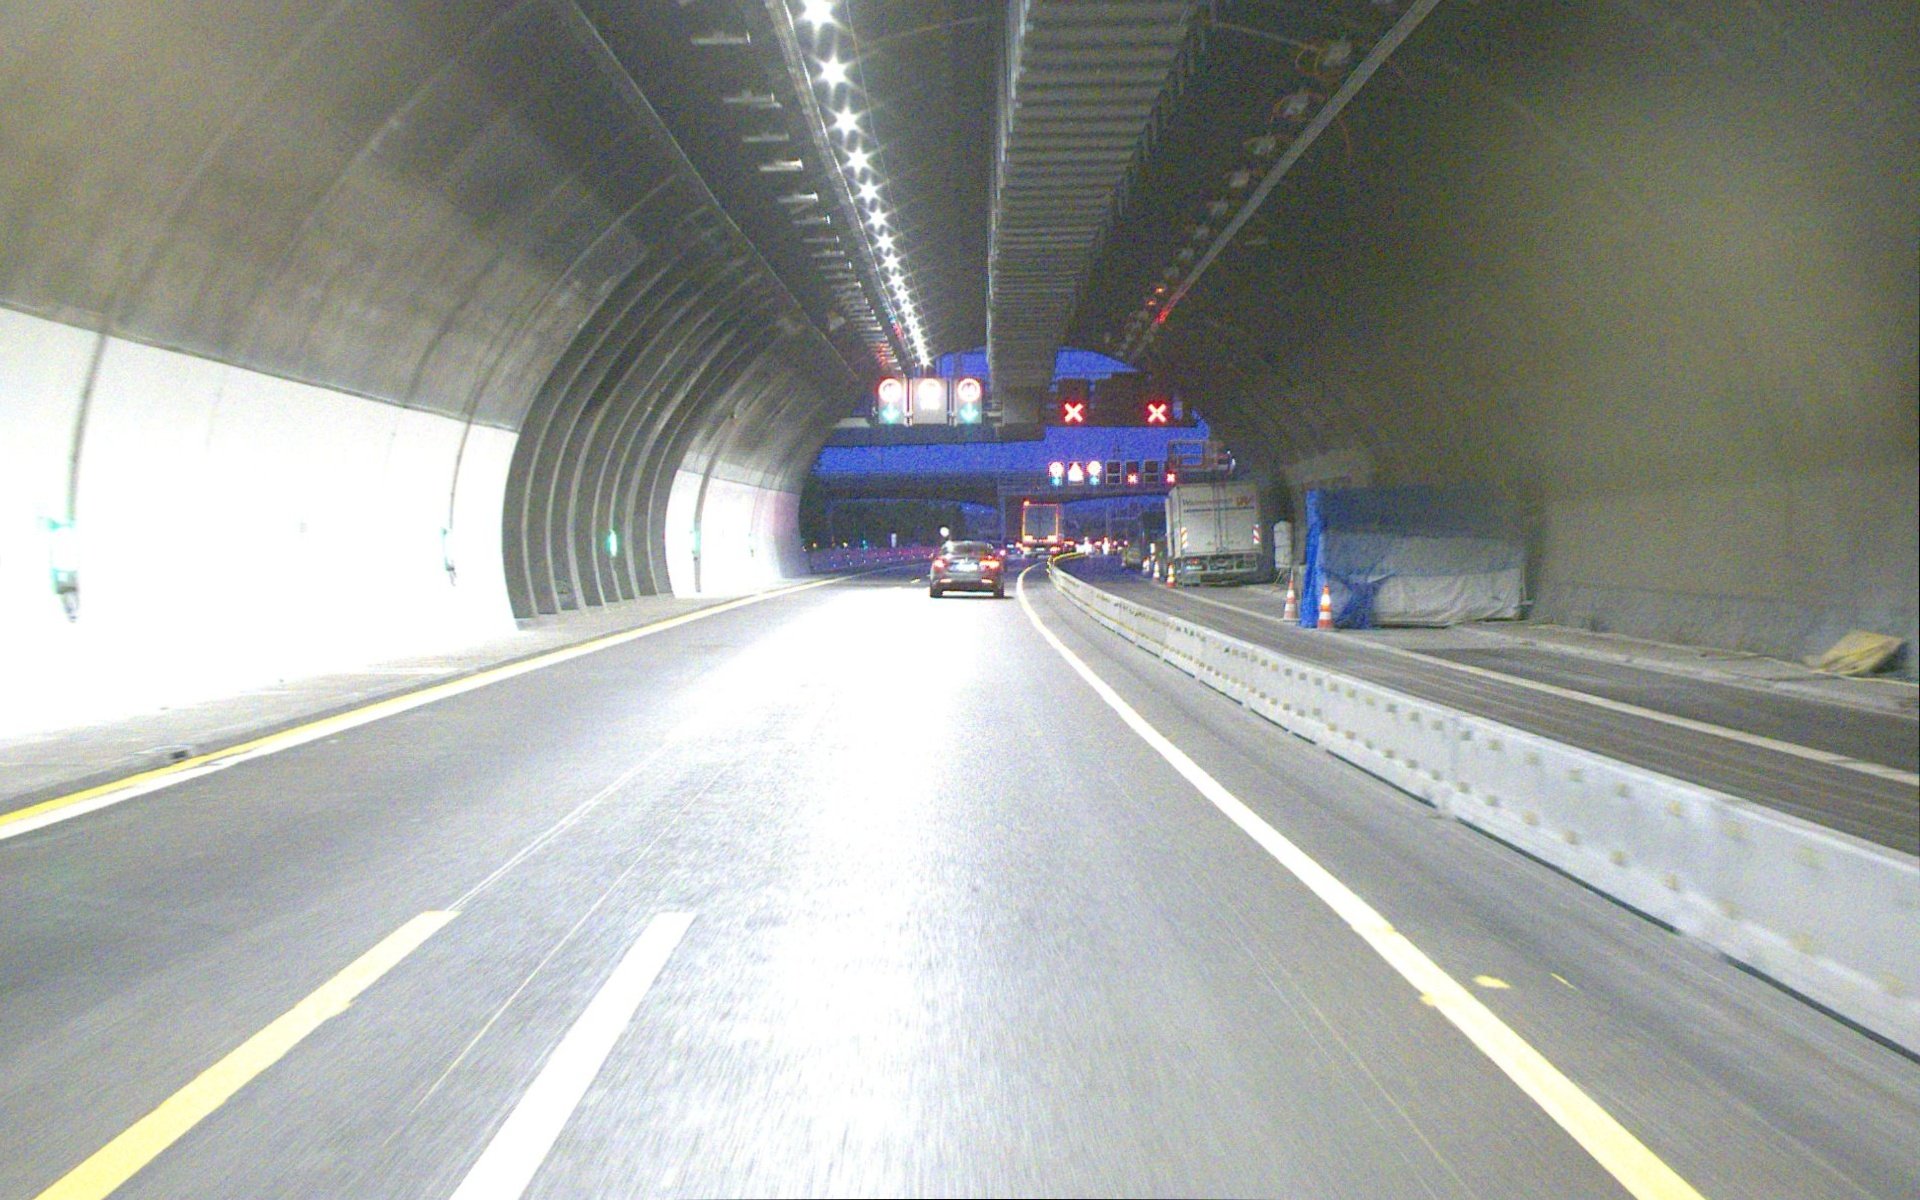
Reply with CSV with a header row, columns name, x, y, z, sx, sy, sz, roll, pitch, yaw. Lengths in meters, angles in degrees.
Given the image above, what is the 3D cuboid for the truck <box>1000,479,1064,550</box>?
name,x,y,z,sx,sy,sz,roll,pitch,yaw
truck,5.246,-6.143,248.116,4.546,4.970,9.599,0,1,2

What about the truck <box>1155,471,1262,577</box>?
name,x,y,z,sx,sy,sz,roll,pitch,yaw
truck,7.928,-2.409,110.430,2.892,3.261,8.401,0,1,1

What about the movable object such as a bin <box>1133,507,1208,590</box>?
name,x,y,z,sx,sy,sz,roll,pitch,yaw
movable object such as a bin,7.273,-1.792,119.558,2.238,2.784,7.233,0,1,1

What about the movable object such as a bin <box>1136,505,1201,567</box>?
name,x,y,z,sx,sy,sz,roll,pitch,yaw
movable object such as a bin,9.441,-2.893,156.312,2.737,2.744,7.049,0,1,2

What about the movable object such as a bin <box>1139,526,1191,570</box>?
name,x,y,z,sx,sy,sz,roll,pitch,yaw
movable object such as a bin,8.541,-2.160,143.636,1.978,1.809,3.836,0,1,1

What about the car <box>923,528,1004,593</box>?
name,x,y,z,sx,sy,sz,roll,pitch,yaw
car,0.059,-1.010,87.435,1.887,1.601,4.000,0,1,-2

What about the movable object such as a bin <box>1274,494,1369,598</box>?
name,x,y,z,sx,sy,sz,roll,pitch,yaw
movable object such as a bin,8.789,-1.316,83.829,1.756,2.372,4.000,-3,1,0

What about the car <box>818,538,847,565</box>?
name,x,y,z,sx,sy,sz,roll,pitch,yaw
car,-9.674,-3.700,261.479,1.993,2.007,4.000,0,1,1
